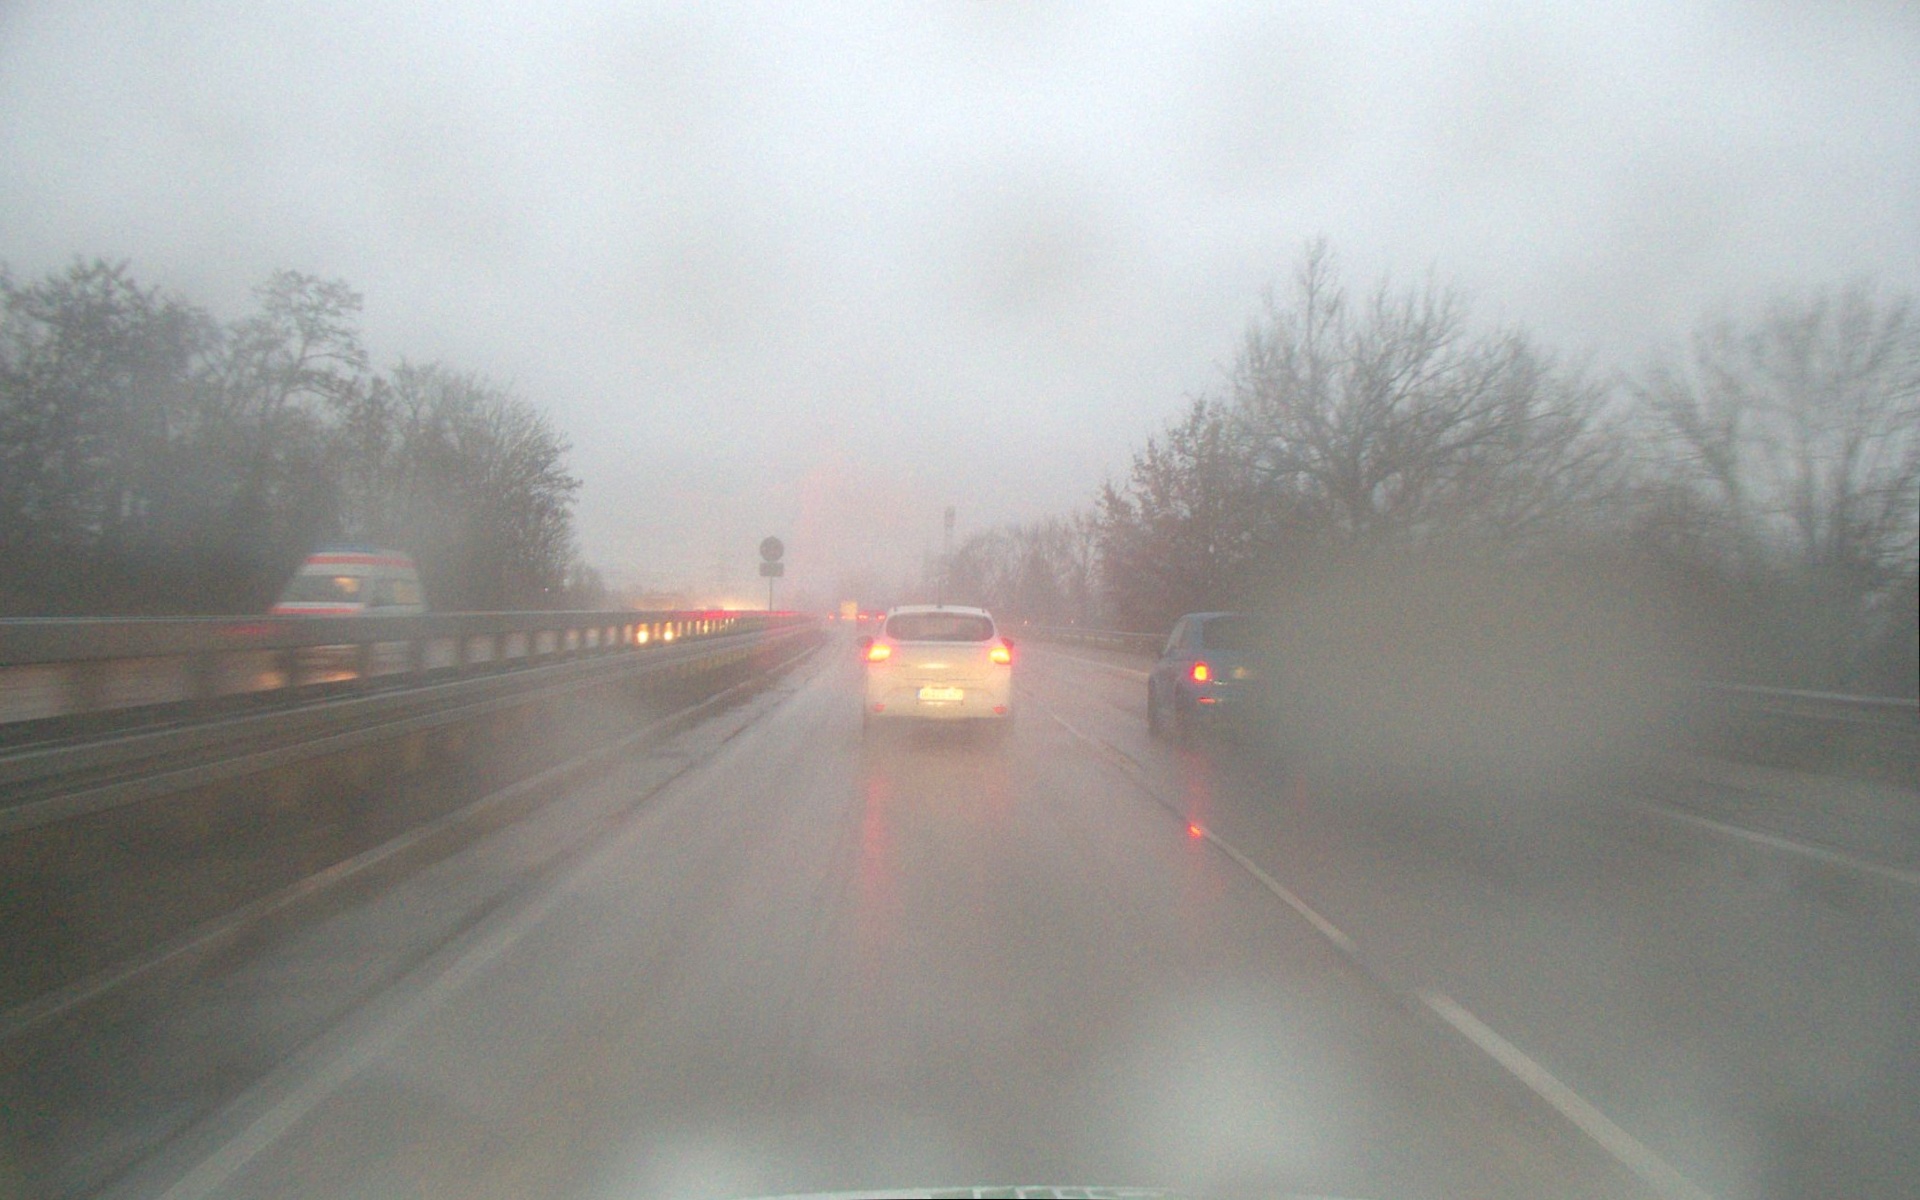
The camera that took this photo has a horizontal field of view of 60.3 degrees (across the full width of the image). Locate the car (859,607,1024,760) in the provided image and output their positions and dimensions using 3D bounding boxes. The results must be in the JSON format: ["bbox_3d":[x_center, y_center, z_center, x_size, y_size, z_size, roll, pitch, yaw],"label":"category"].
[{"bbox_3d":[-0.230,0.936,20.234,1.808,1.664,3.767,1,0,-1],"label":"car"}]

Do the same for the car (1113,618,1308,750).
[{"bbox_3d":[3.102,0.994,21.273,1.808,1.479,4.148,1,0,-1],"label":"car"}]

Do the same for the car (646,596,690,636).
[{"bbox_3d":[-15.809,0.893,89.768,1.897,2.007,4.531,2,-2,-5],"label":"car"}]

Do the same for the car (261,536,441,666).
[{"bbox_3d":[-12.667,0.030,34.807,1.808,2.479,5.415,1,0,-1],"label":"car"}]
